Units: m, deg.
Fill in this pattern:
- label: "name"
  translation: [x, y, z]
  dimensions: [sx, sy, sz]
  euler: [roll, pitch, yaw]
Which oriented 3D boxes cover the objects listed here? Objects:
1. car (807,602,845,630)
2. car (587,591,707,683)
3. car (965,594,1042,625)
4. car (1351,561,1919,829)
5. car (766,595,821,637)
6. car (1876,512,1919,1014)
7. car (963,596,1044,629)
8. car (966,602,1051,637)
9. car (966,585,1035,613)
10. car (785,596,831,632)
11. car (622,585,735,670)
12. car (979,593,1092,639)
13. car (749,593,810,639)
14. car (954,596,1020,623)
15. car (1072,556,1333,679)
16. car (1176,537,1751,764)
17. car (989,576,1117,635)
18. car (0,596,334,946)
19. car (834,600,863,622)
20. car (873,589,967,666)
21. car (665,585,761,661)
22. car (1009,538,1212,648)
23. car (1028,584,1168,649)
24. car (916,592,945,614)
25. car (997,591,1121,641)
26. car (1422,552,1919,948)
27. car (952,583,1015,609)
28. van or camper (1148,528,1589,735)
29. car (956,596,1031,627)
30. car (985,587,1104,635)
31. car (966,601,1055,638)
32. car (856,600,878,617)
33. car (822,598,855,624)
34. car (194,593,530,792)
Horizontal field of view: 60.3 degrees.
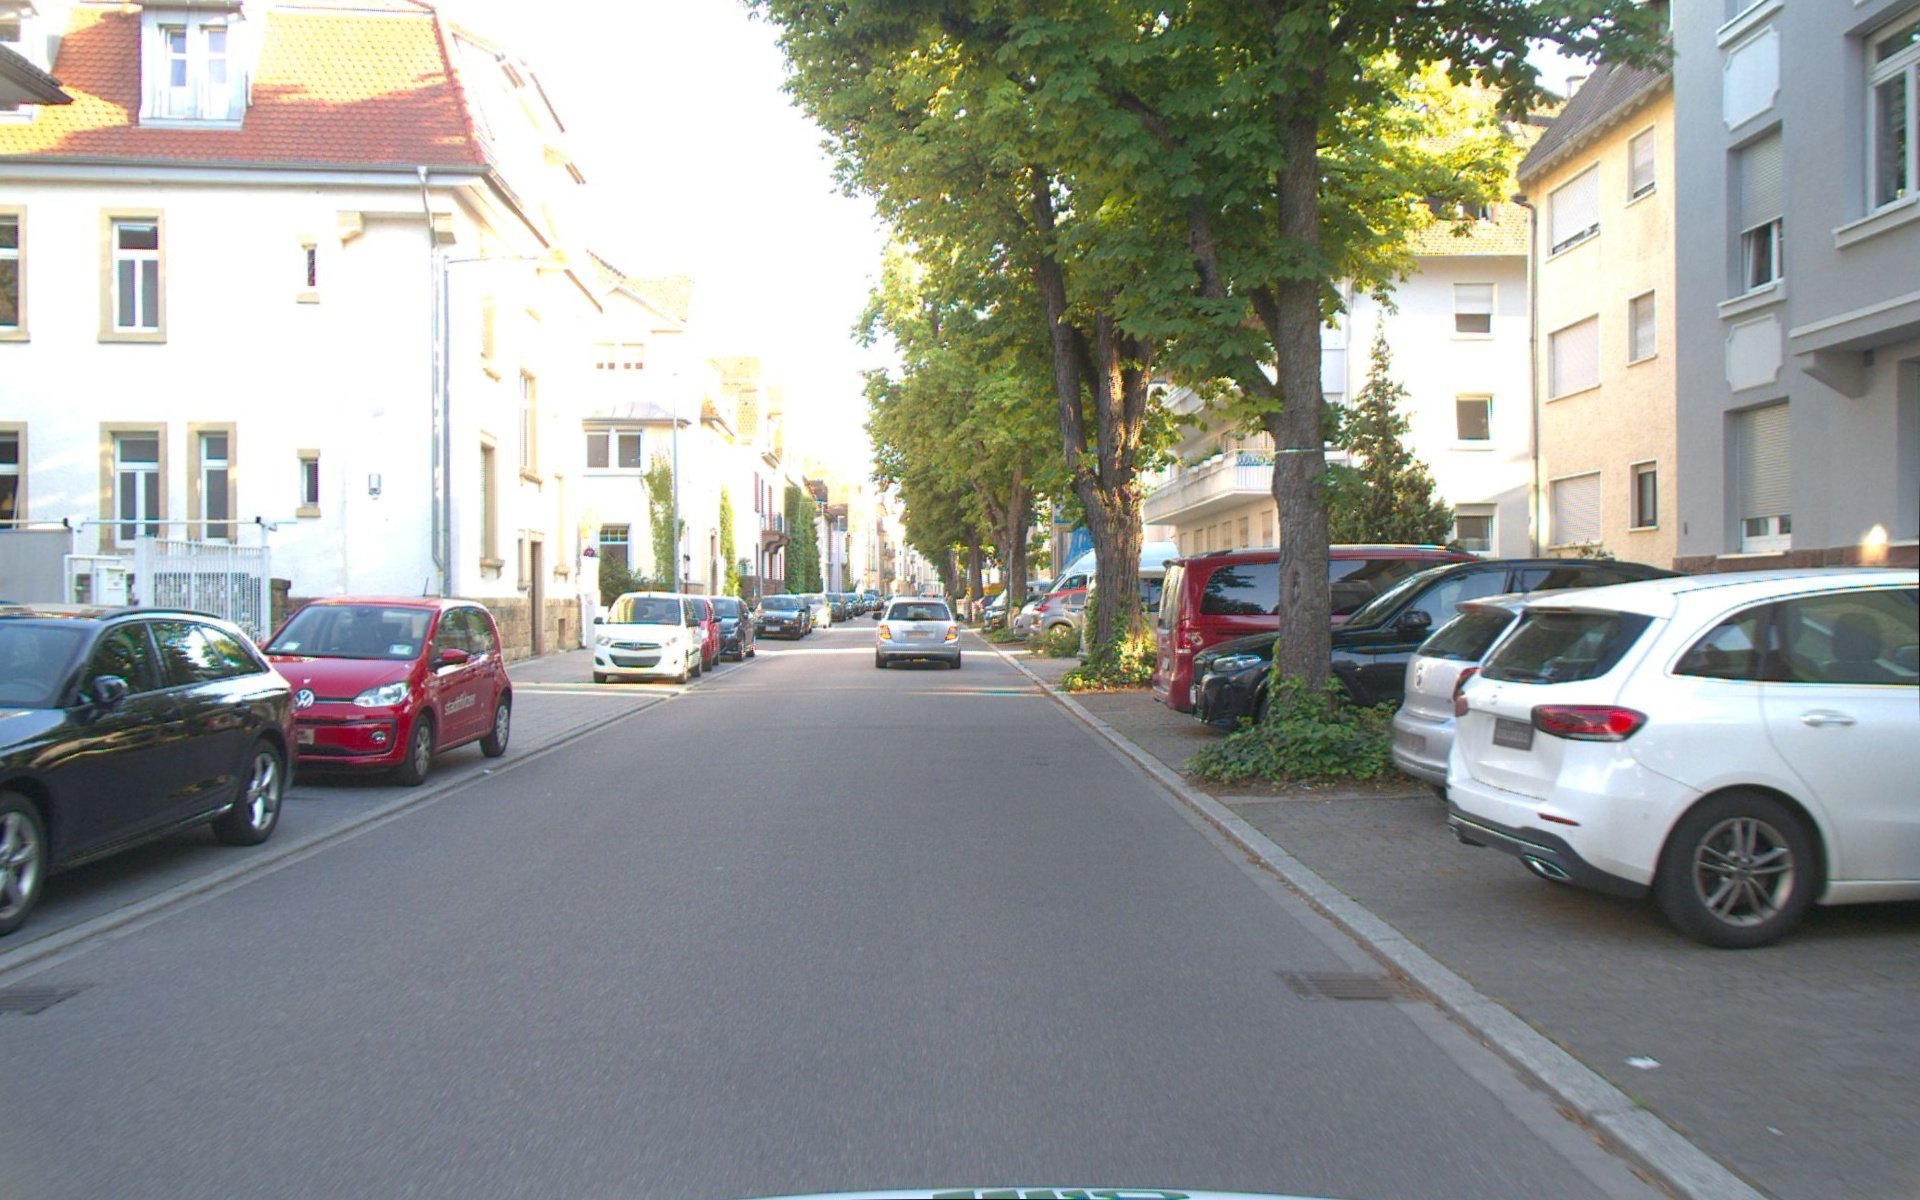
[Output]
- label: "car"
  translation: [-6.997, 0.838, 86.833]
  dimensions: [1.763, 1.411, 3.605]
  euler: [0, 0, -1]
- label: "car"
  translation: [-5.520, 0.626, 29.533]
  dimensions: [1.626, 1.526, 3.751]
  euler: [0, 0, -3]
- label: "car"
  translation: [2.121, 0.459, 81.858]
  dimensions: [3.766, 1.508, 1.805]
  euler: [-1, 0, -1]
- label: "car"
  translation: [4.669, 0.569, 10.872]
  dimensions: [3.738, 1.595, 1.741]
  euler: [0, 0, -5]
- label: "car"
  translation: [-6.239, 0.597, 62.400]
  dimensions: [1.763, 1.508, 3.856]
  euler: [0, 0, -1]
- label: "car"
  translation: [4.968, 0.521, 4.977]
  dimensions: [3.476, 1.683, 1.724]
  euler: [-1, 0, -3]
- label: "car"
  translation: [2.052, 0.571, 78.433]
  dimensions: [3.766, 1.508, 1.805]
  euler: [-1, 0, -1]
- label: "car"
  translation: [2.143, 0.856, 74.151]
  dimensions: [3.766, 1.508, 1.805]
  euler: [-1, 0, -1]
- label: "car"
  translation: [2.202, -0.062, 91.258]
  dimensions: [3.766, 1.508, 1.805]
  euler: [-1, 0, -1]
- label: "car"
  translation: [-6.648, 0.605, 72.715]
  dimensions: [1.763, 1.508, 3.856]
  euler: [0, 0, -1]
- label: "car"
  translation: [-5.790, 0.576, 34.433]
  dimensions: [1.763, 1.673, 3.855]
  euler: [0, -1, -1]
- label: "car"
  translation: [2.558, 0.520, 56.675]
  dimensions: [3.766, 1.508, 1.805]
  euler: [-1, 0, -1]
- label: "car"
  translation: [-6.181, 0.521, 57.014]
  dimensions: [1.763, 1.508, 3.856]
  euler: [0, 0, -1]
- label: "car"
  translation: [1.558, 0.531, 95.420]
  dimensions: [3.766, 1.508, 1.805]
  euler: [-1, 0, -1]
- label: "car"
  translation: [4.008, 0.277, 27.785]
  dimensions: [4.047, 1.955, 1.890]
  euler: [-1, 0, -3]
- label: "car"
  translation: [4.332, 0.422, 14.755]
  dimensions: [4.532, 1.869, 1.953]
  euler: [0, 0, -2]
- label: "car"
  translation: [3.351, 0.184, 60.234]
  dimensions: [4.429, 2.049, 2.250]
  euler: [-1, 0, -3]
- label: "car"
  translation: [-5.071, 0.750, 8.803]
  dimensions: [1.747, 1.524, 4.698]
  euler: [0, 0, -1]
- label: "car"
  translation: [-7.304, 0.724, 108.525]
  dimensions: [1.763, 1.411, 3.605]
  euler: [0, 0, -1]
- label: "car"
  translation: [-0.782, 0.567, 34.670]
  dimensions: [1.779, 1.498, 4.217]
  euler: [0, -1, 1]
- label: "car"
  translation: [-5.723, 0.498, 38.733]
  dimensions: [1.763, 1.673, 3.856]
  euler: [0, 0, -1]
- label: "car"
  translation: [4.234, -0.215, 47.203]
  dimensions: [5.432, 3.020, 2.470]
  euler: [-1, 0, -4]
- label: "car"
  translation: [3.654, 0.424, 44.179]
  dimensions: [3.523, 1.689, 1.649]
  euler: [-1, 0, -4]
- label: "car"
  translation: [-1.996, 0.213, 113.510]
  dimensions: [1.779, 1.498, 4.217]
  euler: [0, -1, 1]
- label: "car"
  translation: [3.082, 0.485, 52.085]
  dimensions: [3.766, 1.508, 1.805]
  euler: [-1, 0, -1]
- label: "car"
  translation: [4.225, 0.592, 7.661]
  dimensions: [3.655, 1.585, 1.724]
  euler: [-1, 0, -3]
- label: "car"
  translation: [1.385, -0.257, 98.992]
  dimensions: [3.766, 1.508, 1.805]
  euler: [-1, 0, -1]
- label: "van or camper"
  translation: [4.204, 0.307, 17.590]
  dimensions: [4.223, 2.049, 2.000]
  euler: [0, 0, 1]
- label: "car"
  translation: [1.671, 0.590, 84.110]
  dimensions: [3.766, 1.508, 1.805]
  euler: [-1, 0, -1]
- label: "car"
  translation: [2.724, 0.351, 54.060]
  dimensions: [3.766, 1.508, 1.805]
  euler: [-1, 0, -1]
- label: "car"
  translation: [2.148, 0.839, 71.347]
  dimensions: [3.766, 1.508, 1.805]
  euler: [-1, 0, -1]
- label: "car"
  translation: [-7.738, 0.700, 137.963]
  dimensions: [1.763, 1.411, 3.605]
  euler: [0, 0, -1]
- label: "car"
  translation: [-7.113, 0.631, 96.845]
  dimensions: [1.763, 1.411, 3.605]
  euler: [0, 0, -1]
- label: "car"
  translation: [-5.063, 0.718, 14.543]
  dimensions: [1.625, 1.514, 3.753]
  euler: [0, 0, -1]
